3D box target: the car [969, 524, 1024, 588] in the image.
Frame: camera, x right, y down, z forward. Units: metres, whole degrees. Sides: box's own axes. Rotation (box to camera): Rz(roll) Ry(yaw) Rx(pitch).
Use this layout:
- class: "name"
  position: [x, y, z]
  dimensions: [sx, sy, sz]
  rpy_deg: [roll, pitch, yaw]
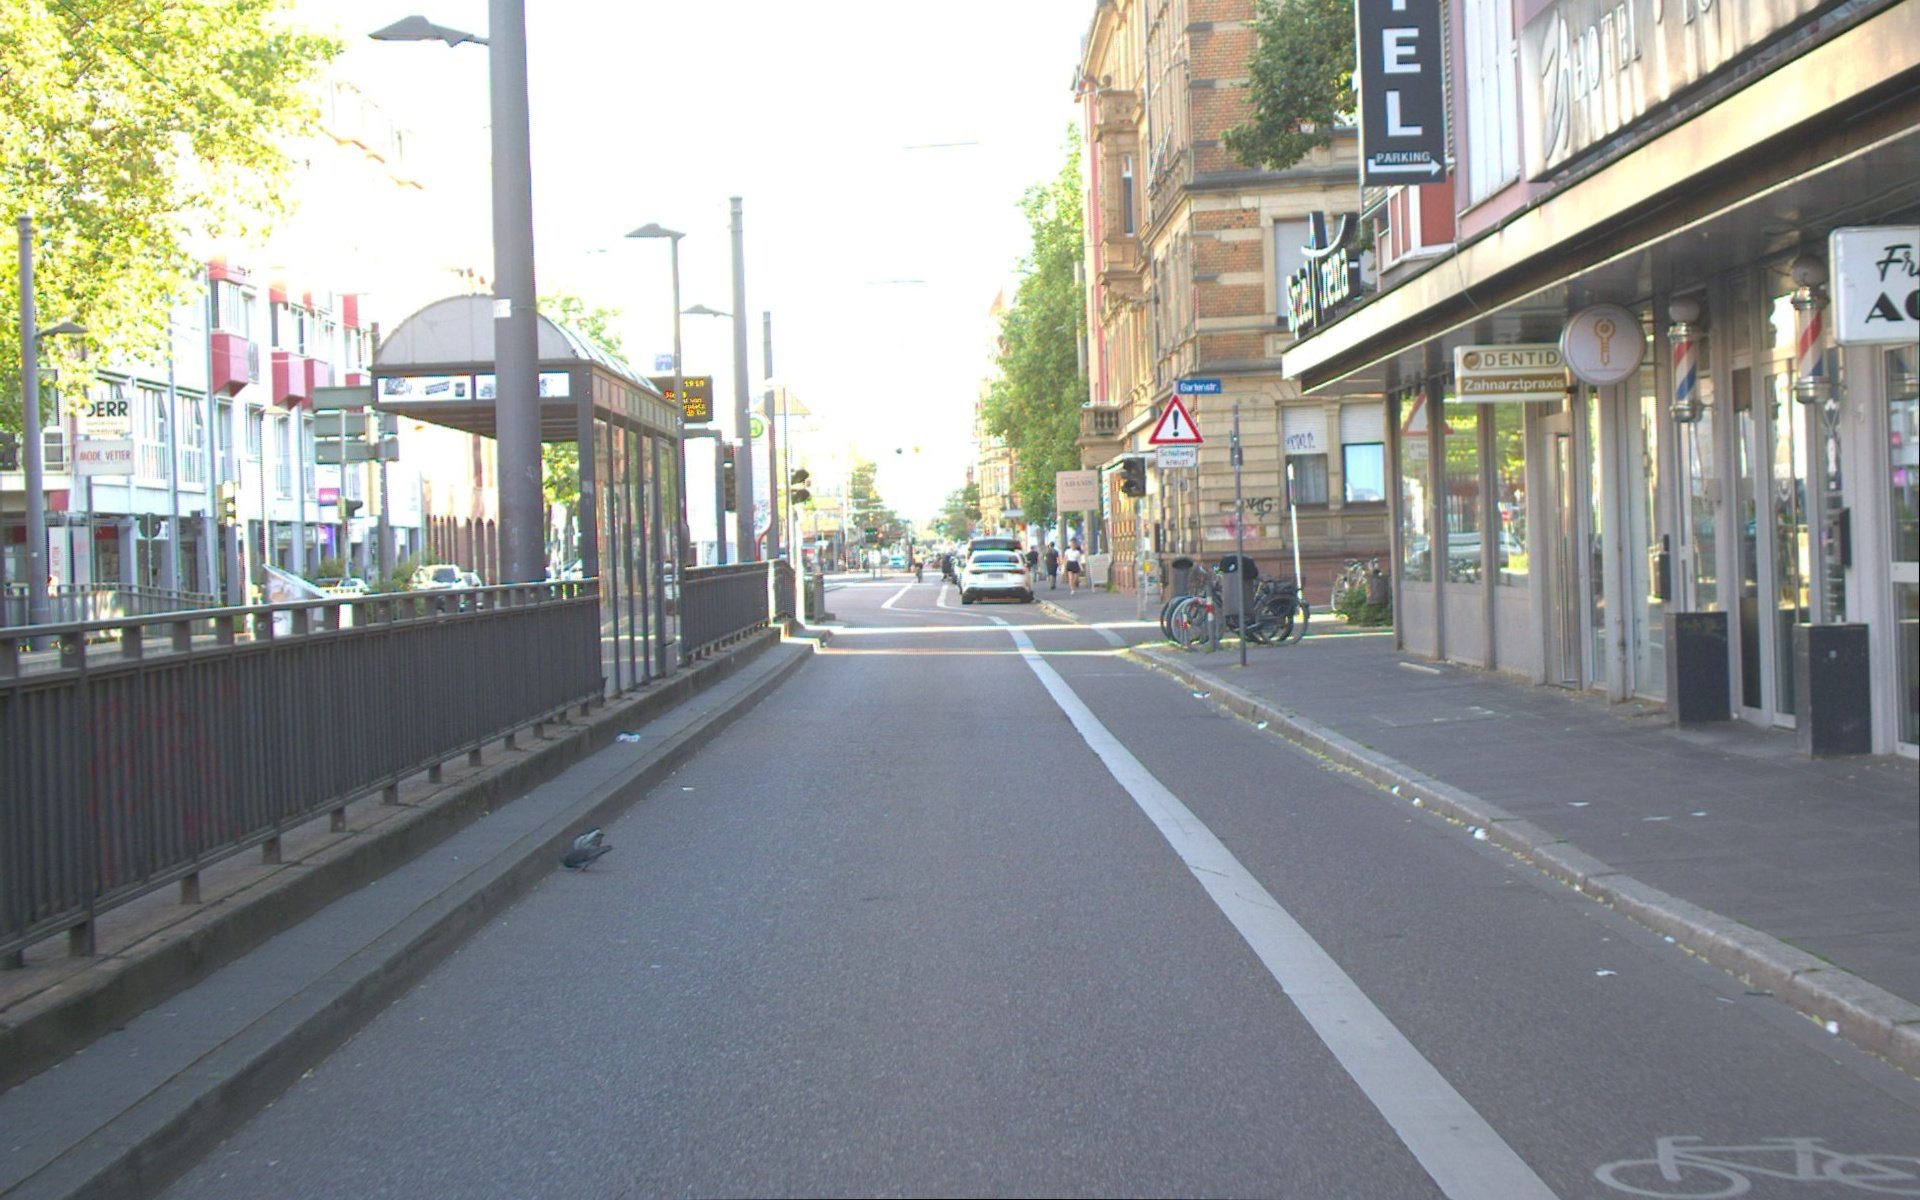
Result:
- class: "car"
  position: [1.273, -1.498, 118.375]
  dimensions: [1.705, 2.112, 3.706]
  rpy_deg: [-1, 0, 3]

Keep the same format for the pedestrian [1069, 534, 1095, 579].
- class: "pedestrian"
  position: [4.388, -1.559, 123.574]
  dimensions: [0.776, 1.561, 0.914]
  rpy_deg: [-5, 1, 1]

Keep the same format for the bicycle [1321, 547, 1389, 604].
- class: "bicycle"
  position: [7.284, -0.458, 63.512]
  dimensions: [0.451, 1.021, 1.908]
  rpy_deg: [-2, 1, -19]

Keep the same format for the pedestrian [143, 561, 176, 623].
- class: "pedestrian"
  position: [-22.673, -0.228, 97.377]
  dimensions: [0.743, 1.706, 0.616]
  rpy_deg: [-2, 1, -4]

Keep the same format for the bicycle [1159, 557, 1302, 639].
- class: "bicycle"
  position: [3.656, -0.032, 46.554]
  dimensions: [1.833, 1.050, 0.718]
  rpy_deg: [-2, 1, -3]

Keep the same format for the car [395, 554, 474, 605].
- class: "car"
  position: [-18.211, -0.699, 119.393]
  dimensions: [2.090, 1.707, 4.819]
  rpy_deg: [0, 0, -1]

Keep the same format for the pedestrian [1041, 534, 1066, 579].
- class: "pedestrian"
  position: [3.358, -1.573, 123.613]
  dimensions: [0.776, 1.561, 0.914]
  rpy_deg: [-5, 1, 1]

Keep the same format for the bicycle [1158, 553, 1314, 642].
- class: "bicycle"
  position: [3.670, -0.042, 45.824]
  dimensions: [1.970, 1.101, 0.614]
  rpy_deg: [-2, 1, -3]

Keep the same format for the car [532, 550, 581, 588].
- class: "car"
  position: [-17.990, -1.395, 153.592]
  dimensions: [1.869, 1.594, 4.255]
  rpy_deg: [-1, 1, -3]

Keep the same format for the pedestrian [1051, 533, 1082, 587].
- class: "pedestrian"
  position: [3.222, -1.203, 103.854]
  dimensions: [0.776, 1.561, 0.913]
  rpy_deg: [-5, 1, 3]

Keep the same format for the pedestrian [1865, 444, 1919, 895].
- class: "pedestrian"
  position: [4.004, 0.245, 12.937]
  dimensions: [0.798, 1.716, 1.061]
  rpy_deg: [-5, 0, 1]

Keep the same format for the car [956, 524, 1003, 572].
- class: "car"
  position: [0.877, -2.331, 153.405]
  dimensions: [1.971, 2.007, 4.558]
  rpy_deg: [-3, 1, 1]

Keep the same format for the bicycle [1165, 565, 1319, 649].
- class: "bicycle"
  position: [3.696, 0.086, 45.169]
  dimensions: [1.913, 1.044, 0.681]
  rpy_deg: [-2, 1, -3]

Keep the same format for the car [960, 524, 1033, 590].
- class: "car"
  position: [1.023, -1.188, 95.557]
  dimensions: [1.966, 1.765, 4.875]
  rpy_deg: [0, 1, 1]

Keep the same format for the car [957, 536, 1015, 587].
- class: "car"
  position: [0.915, -1.393, 123.759]
  dimensions: [1.949, 1.782, 5.182]
  rpy_deg: [0, 1, -1]

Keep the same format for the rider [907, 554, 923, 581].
- class: "rider"
  position: [-2.466, -1.796, 189.580]
  dimensions: [0.883, 1.476, 0.713]
  rpy_deg: [0, 1, 1]
